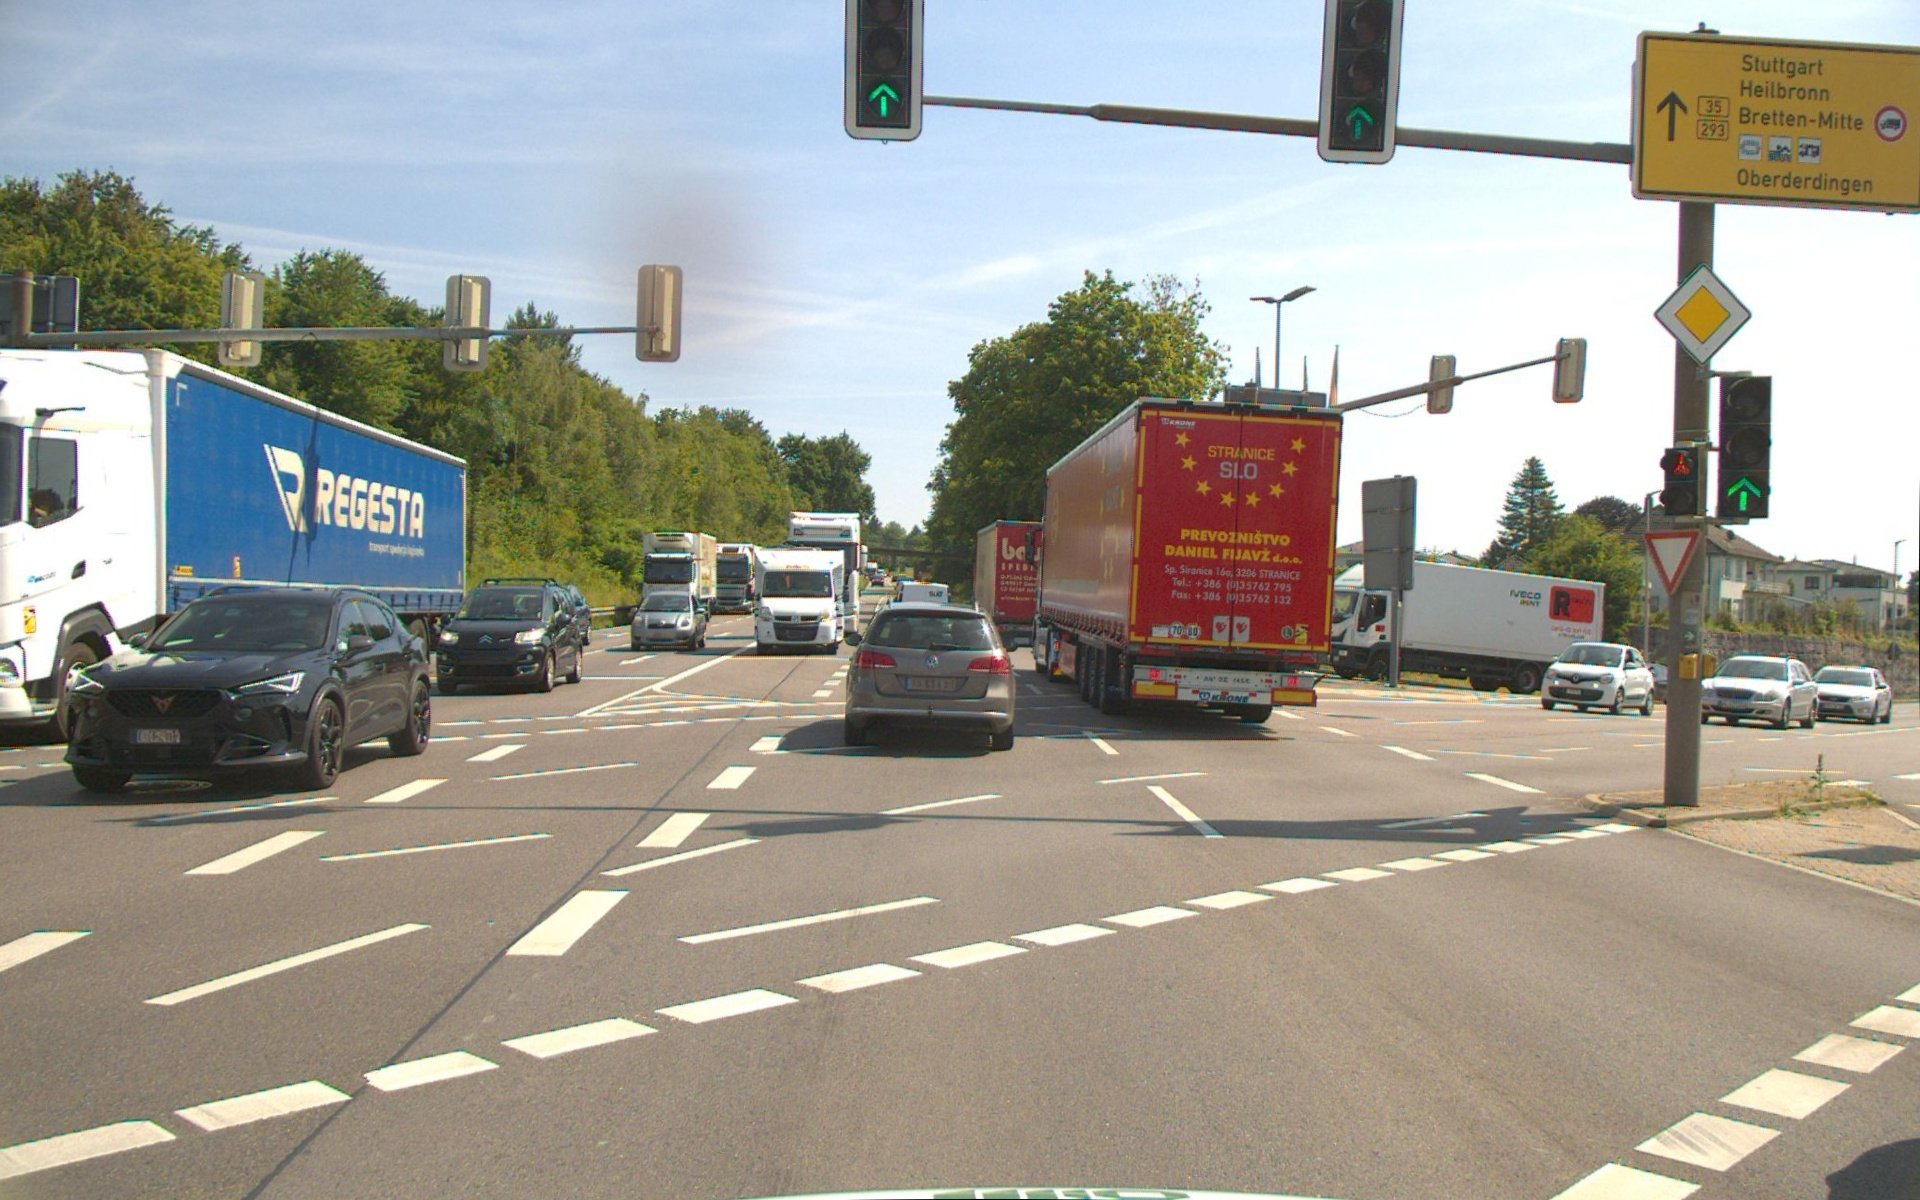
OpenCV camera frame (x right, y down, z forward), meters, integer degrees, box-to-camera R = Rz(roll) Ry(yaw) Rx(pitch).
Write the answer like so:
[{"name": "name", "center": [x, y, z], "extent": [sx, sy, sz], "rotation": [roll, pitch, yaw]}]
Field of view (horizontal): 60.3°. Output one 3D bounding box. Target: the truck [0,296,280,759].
[{"name": "truck", "center": [-10.116, -0.668, 17.896], "extent": [3.124, 4.151, 6.342], "rotation": [0, 0, -3]}]

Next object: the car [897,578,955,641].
[{"name": "car", "center": [-1.142, 0.304, 54.079], "extent": [1.735, 1.970, 3.975], "rotation": [0, 0, -3]}]

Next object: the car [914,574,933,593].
[{"name": "car", "center": [-4.035, -1.845, 183.865], "extent": [1.954, 2.049, 3.998], "rotation": [0, 0, -3]}]

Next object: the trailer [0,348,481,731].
[{"name": "trailer", "center": [-10.494, -0.673, 25.015], "extent": [3.031, 4.151, 14.118], "rotation": [0, 0, -3]}]

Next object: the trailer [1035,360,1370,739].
[{"name": "trailer", "center": [3.226, -0.625, 26.505], "extent": [2.782, 4.441, 13.161], "rotation": [2, 0, -2]}]

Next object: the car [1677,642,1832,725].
[{"name": "car", "center": [17.135, 1.809, 35.515], "extent": [1.962, 1.531, 4.977], "rotation": [3, -1, 38]}]

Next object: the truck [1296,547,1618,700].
[{"name": "truck", "center": [15.372, 0.763, 51.025], "extent": [9.526, 3.690, 2.752], "rotation": [6, -2, -19]}]

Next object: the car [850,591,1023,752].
[{"name": "car", "center": [-0.331, 0.681, 17.890], "extent": [1.657, 1.539, 3.997], "rotation": [0, 0, -3]}]

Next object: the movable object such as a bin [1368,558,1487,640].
[{"name": "movable object such as a bin", "center": [19.604, -0.049, 69.145], "extent": [2.841, 3.264, 6.683], "rotation": [0, 0, 34]}]

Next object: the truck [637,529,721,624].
[{"name": "truck", "center": [-12.751, -1.005, 75.760], "extent": [2.674, 4.069, 9.614], "rotation": [0, 0, -3]}]

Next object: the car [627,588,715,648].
[{"name": "car", "center": [-7.622, 0.452, 43.863], "extent": [1.690, 1.528, 3.999], "rotation": [0, 0, -1]}]

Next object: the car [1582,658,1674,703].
[{"name": "car", "center": [23.695, 2.846, 58.596], "extent": [1.961, 1.486, 4.302], "rotation": [1, -2, 37]}]

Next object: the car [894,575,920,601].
[{"name": "car", "center": [-4.167, -0.940, 130.349], "extent": [1.954, 2.049, 3.998], "rotation": [0, 0, -3]}]

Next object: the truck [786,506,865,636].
[{"name": "truck", "center": [-4.526, -0.931, 56.404], "extent": [2.487, 4.159, 6.261], "rotation": [0, 0, -4]}]

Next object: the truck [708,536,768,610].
[{"name": "truck", "center": [-13.212, -1.532, 99.068], "extent": [2.773, 4.188, 9.675], "rotation": [0, 0, -3]}]

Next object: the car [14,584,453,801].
[{"name": "car", "center": [-5.761, 0.644, 13.820], "extent": [1.954, 1.511, 4.450], "rotation": [0, 0, -4]}]

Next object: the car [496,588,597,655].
[{"name": "car", "center": [-11.150, 0.553, 44.885], "extent": [1.954, 1.706, 4.303], "rotation": [0, 0, -5]}]

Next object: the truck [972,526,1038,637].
[{"name": "truck", "center": [1.734, -0.704, 65.657], "extent": [2.357, 4.200, 5.520], "rotation": [0, 0, -1]}]

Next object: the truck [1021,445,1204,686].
[{"name": "truck", "center": [2.954, -0.650, 33.711], "extent": [2.813, 4.355, 5.836], "rotation": [2, 0, -2]}]

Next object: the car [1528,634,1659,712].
[{"name": "car", "center": [14.109, 1.645, 36.730], "extent": [1.678, 1.530, 3.739], "rotation": [3, -1, 37]}]

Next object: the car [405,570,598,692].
[{"name": "car", "center": [-7.056, 0.446, 25.880], "extent": [1.953, 1.756, 3.999], "rotation": [0, 0, -1]}]

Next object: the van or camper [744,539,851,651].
[{"name": "van or camper", "center": [-4.107, -0.125, 42.905], "extent": [2.283, 2.646, 6.976], "rotation": [0, 0, -2]}]

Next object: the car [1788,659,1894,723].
[{"name": "car", "center": [23.768, 2.444, 44.546], "extent": [1.881, 1.524, 3.983], "rotation": [3, -1, 37]}]

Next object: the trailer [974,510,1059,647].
[{"name": "trailer", "center": [1.845, -0.699, 58.801], "extent": [2.346, 4.317, 13.075], "rotation": [0, 0, -1]}]

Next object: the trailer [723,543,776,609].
[{"name": "trailer", "center": [-13.717, -1.522, 108.285], "extent": [2.784, 4.141, 8.750], "rotation": [0, 0, -3]}]
